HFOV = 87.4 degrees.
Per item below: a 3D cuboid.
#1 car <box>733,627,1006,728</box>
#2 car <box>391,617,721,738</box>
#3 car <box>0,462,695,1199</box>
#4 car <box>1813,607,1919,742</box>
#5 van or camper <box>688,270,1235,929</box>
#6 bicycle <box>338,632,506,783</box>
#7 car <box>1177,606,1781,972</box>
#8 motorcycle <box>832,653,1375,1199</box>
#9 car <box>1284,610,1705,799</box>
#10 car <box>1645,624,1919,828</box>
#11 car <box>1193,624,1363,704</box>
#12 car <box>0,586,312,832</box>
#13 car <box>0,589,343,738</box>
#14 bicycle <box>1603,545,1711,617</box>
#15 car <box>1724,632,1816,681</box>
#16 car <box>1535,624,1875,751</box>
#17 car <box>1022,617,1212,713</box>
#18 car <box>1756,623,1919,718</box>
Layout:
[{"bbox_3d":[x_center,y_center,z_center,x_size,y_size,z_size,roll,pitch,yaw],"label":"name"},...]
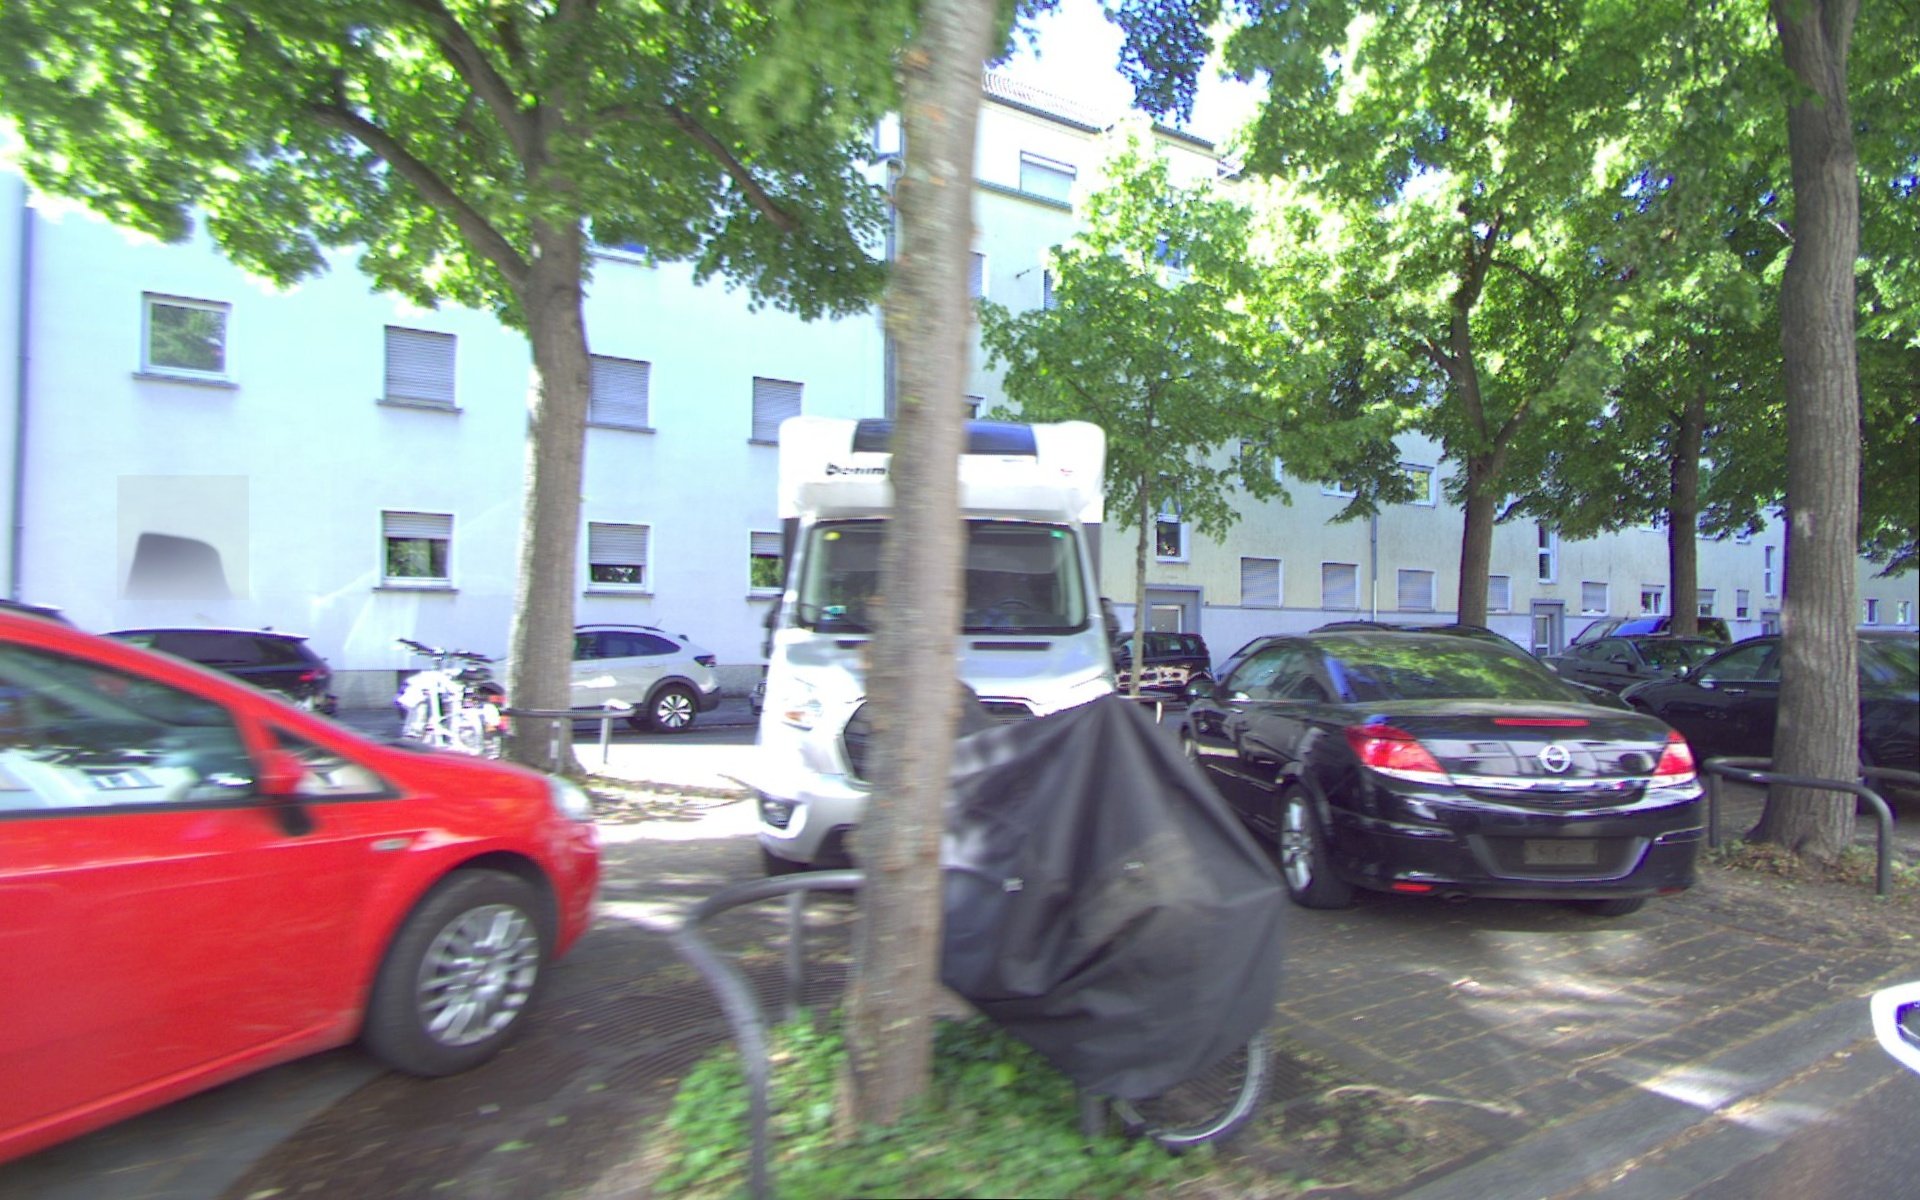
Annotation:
[{"bbox_3d":[-1.442,1.200,16.697,4.258,1.418,1.634,1,1,-33],"label":"car"},{"bbox_3d":[-5.567,1.015,14.013,4.038,1.455,1.740,1,-3,-33],"label":"car"},{"bbox_3d":[-2.651,0.549,2.554,1.633,1.639,3.875,-1,-2,28],"label":"car"},{"bbox_3d":[12.942,0.956,12.027,1.827,1.675,4.087,1,0,-3],"label":"car"},{"bbox_3d":[-0.052,0.018,7.601,2.360,2.862,6.305,1,0,-1],"label":"van or camper"},{"bbox_3d":[-4.436,0.792,8.178,0.628,0.992,2.419,1,0,-42],"label":"bicycle"},{"bbox_3d":[2.573,0.816,6.200,1.681,1.444,4.159,1,-1,2],"label":"car"},{"bbox_3d":[0.254,0.845,3.370,0.868,1.246,2.144,1,-1,-21],"label":"motorcycle"},{"bbox_3d":[5.012,0.882,10.159,1.796,1.505,3.996,2,-1,-7],"label":"car"},{"bbox_3d":[7.934,0.971,8.645,1.593,1.493,4.023,0,-2,5],"label":"car"},{"bbox_3d":[6.879,1.338,21.638,3.541,1.596,1.607,1,-2,-33],"label":"car"},{"bbox_3d":[-6.710,0.668,6.489,1.796,1.505,4.140,0,-1,13],"label":"car"},{"bbox_3d":[-9.404,0.710,11.709,3.722,1.538,1.698,1,-3,-32],"label":"car"},{"bbox_3d":[12.538,-0.337,18.077,1.767,1.216,0.356,2,0,-7],"label":"bicycle"},{"bbox_3d":[27.576,1.902,34.180,3.149,1.579,1.467,1,-3,-32],"label":"car"},{"bbox_3d":[10.010,1.086,13.981,1.781,1.409,4.201,1,-1,3],"label":"car"},{"bbox_3d":[3.066,1.209,19.409,3.562,1.699,1.466,1,-2,-33],"label":"car"},{"bbox_3d":[16.251,1.176,17.245,1.835,1.492,4.116,1,-1,-1],"label":"car"}]
